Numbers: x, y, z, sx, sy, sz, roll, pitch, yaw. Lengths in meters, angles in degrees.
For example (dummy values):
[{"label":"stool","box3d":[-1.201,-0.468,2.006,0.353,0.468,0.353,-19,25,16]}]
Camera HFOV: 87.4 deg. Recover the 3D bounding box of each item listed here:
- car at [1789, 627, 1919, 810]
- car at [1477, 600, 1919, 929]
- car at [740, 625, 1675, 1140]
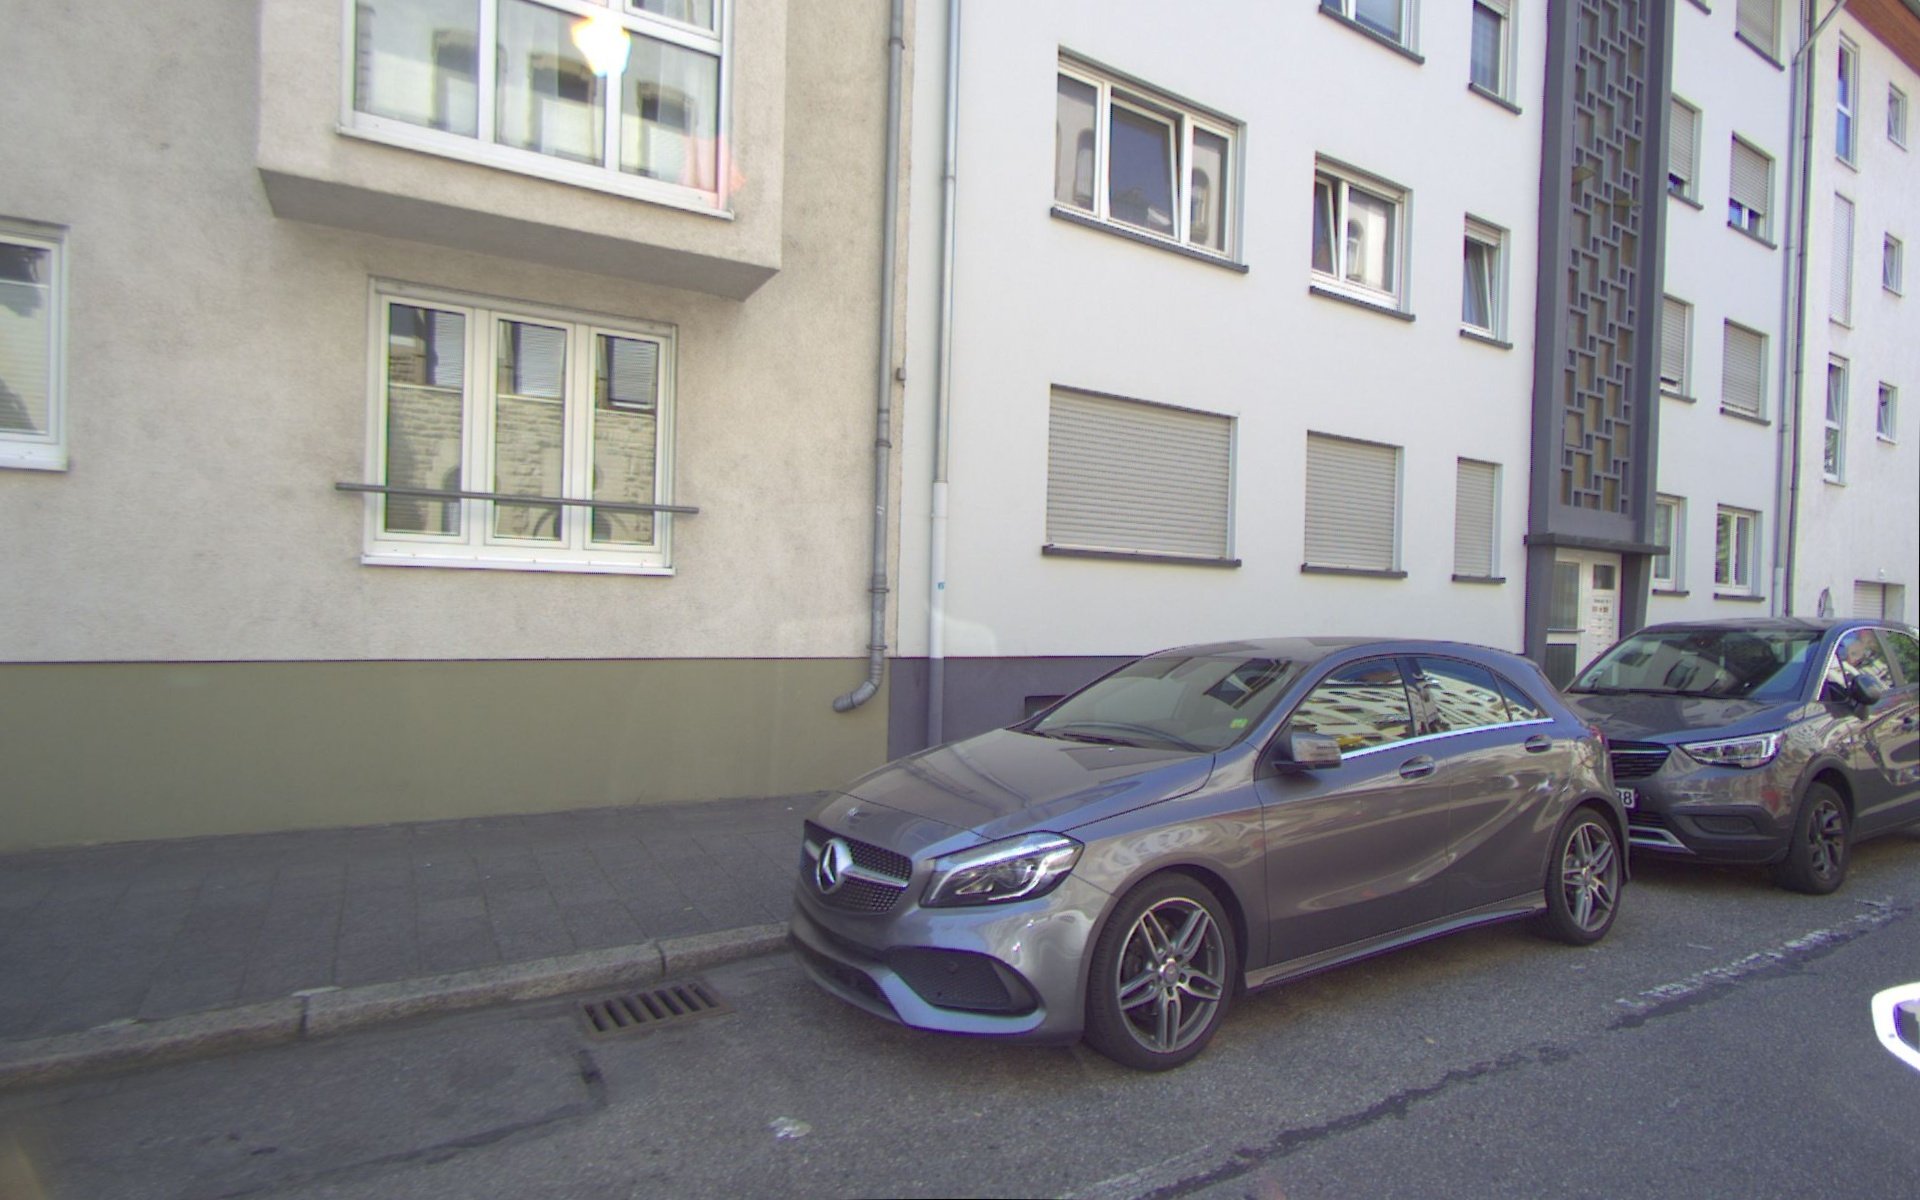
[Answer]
[{"label":"car","box3d":[10.005,1.075,9.770,4.620,1.538,1.647,2,-3,-32]},{"label":"car","box3d":[5.415,0.924,6.862,3.934,1.665,1.595,2,-3,-32]},{"label":"car","box3d":[1.346,0.874,4.683,4.301,1.411,1.755,2,-3,-32]}]
